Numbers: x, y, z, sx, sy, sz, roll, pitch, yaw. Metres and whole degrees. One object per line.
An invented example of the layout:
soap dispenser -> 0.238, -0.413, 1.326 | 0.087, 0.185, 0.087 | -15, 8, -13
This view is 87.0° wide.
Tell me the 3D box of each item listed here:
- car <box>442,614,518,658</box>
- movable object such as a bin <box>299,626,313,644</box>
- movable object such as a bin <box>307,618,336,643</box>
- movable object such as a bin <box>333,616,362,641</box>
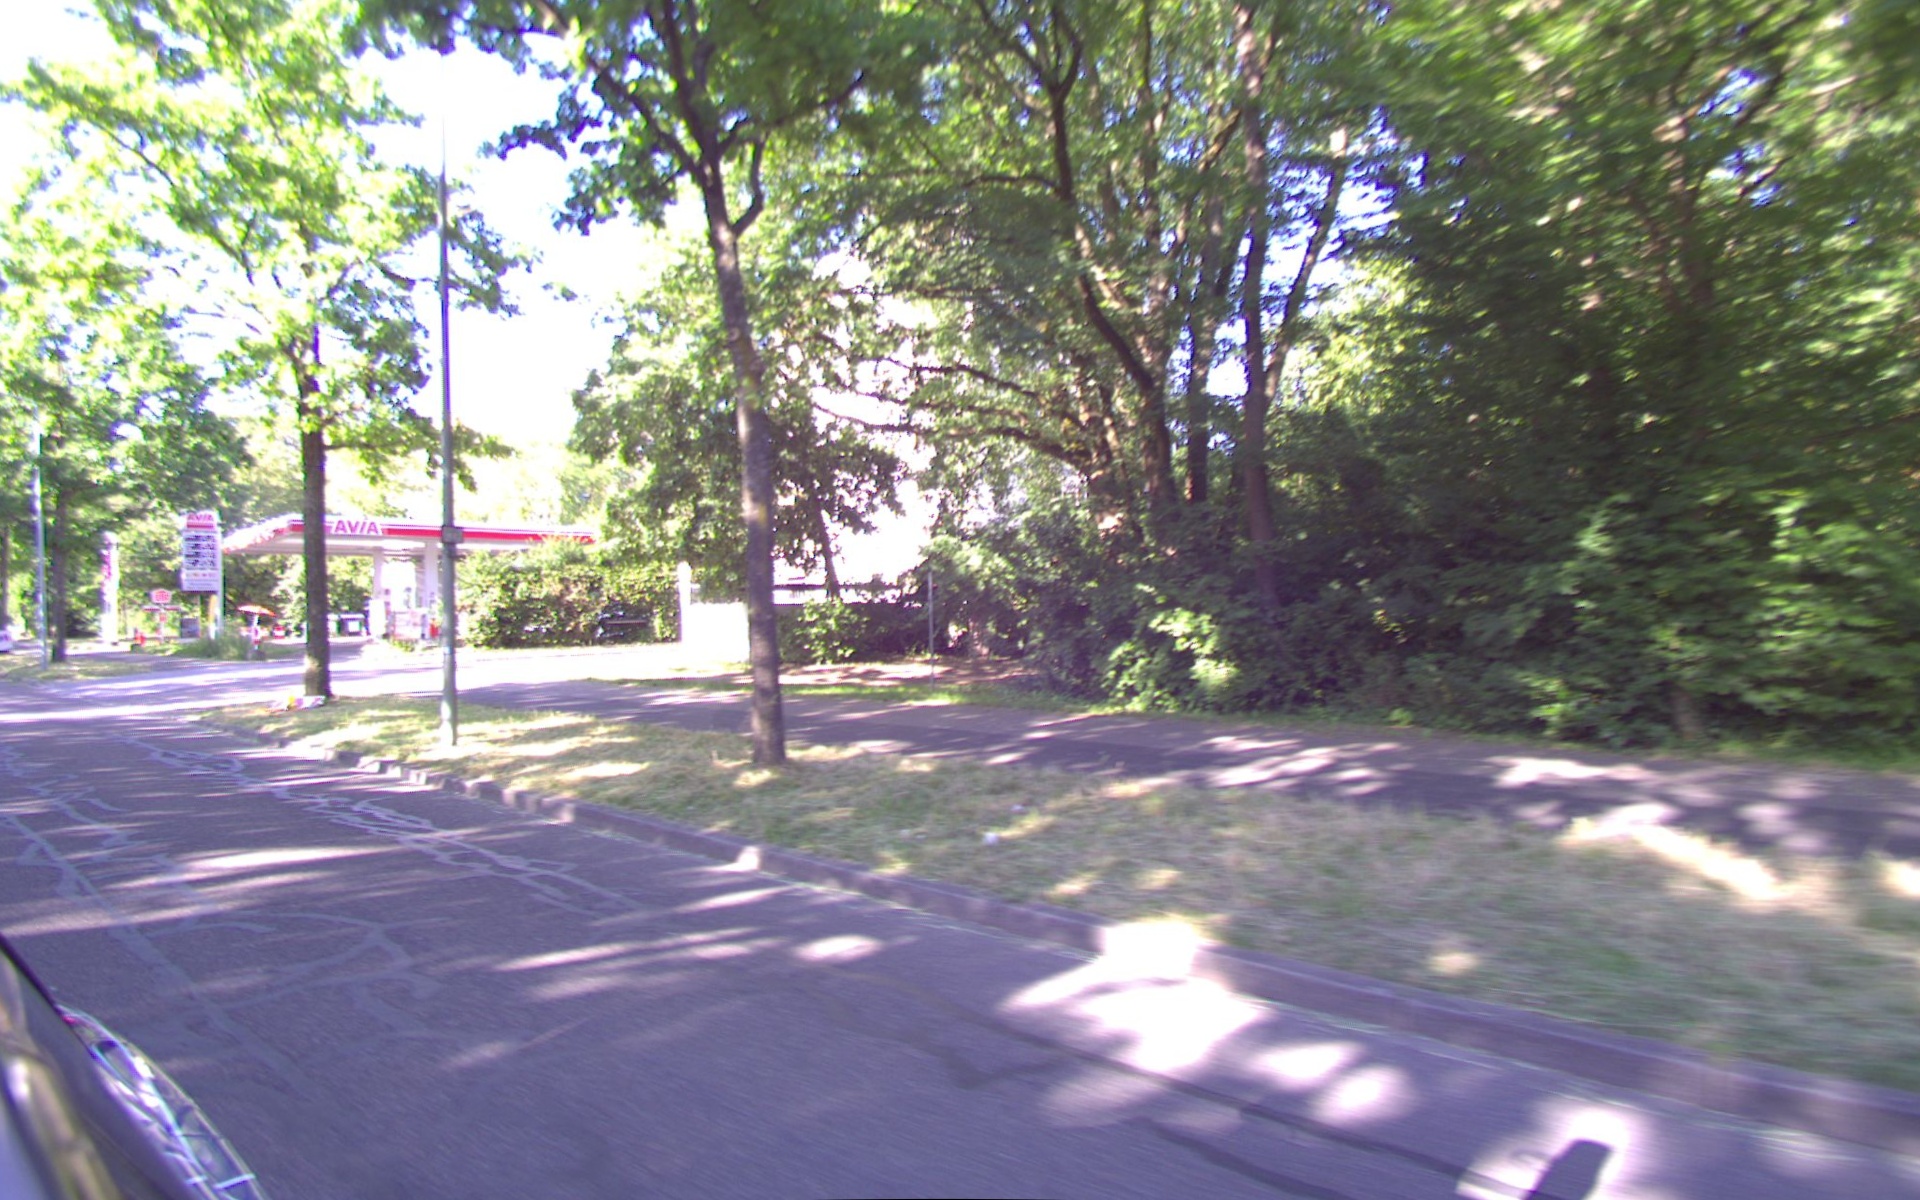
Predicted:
car -> -17.330, 1.258, 36.468 | 1.527, 1.433, 3.491 | -3, 1, -41
movable object such as a bin -> -41.457, 2.201, 64.118 | 0.768, 1.094, 0.562 | -2, -1, 41
movable object such as a bin -> -40.924, 1.964, 64.845 | 1.267, 1.553, 1.290 | -2, -1, 41
movable object such as a bin -> -39.836, 1.826, 65.859 | 1.163, 1.553, 1.291 | -2, 0, 41
